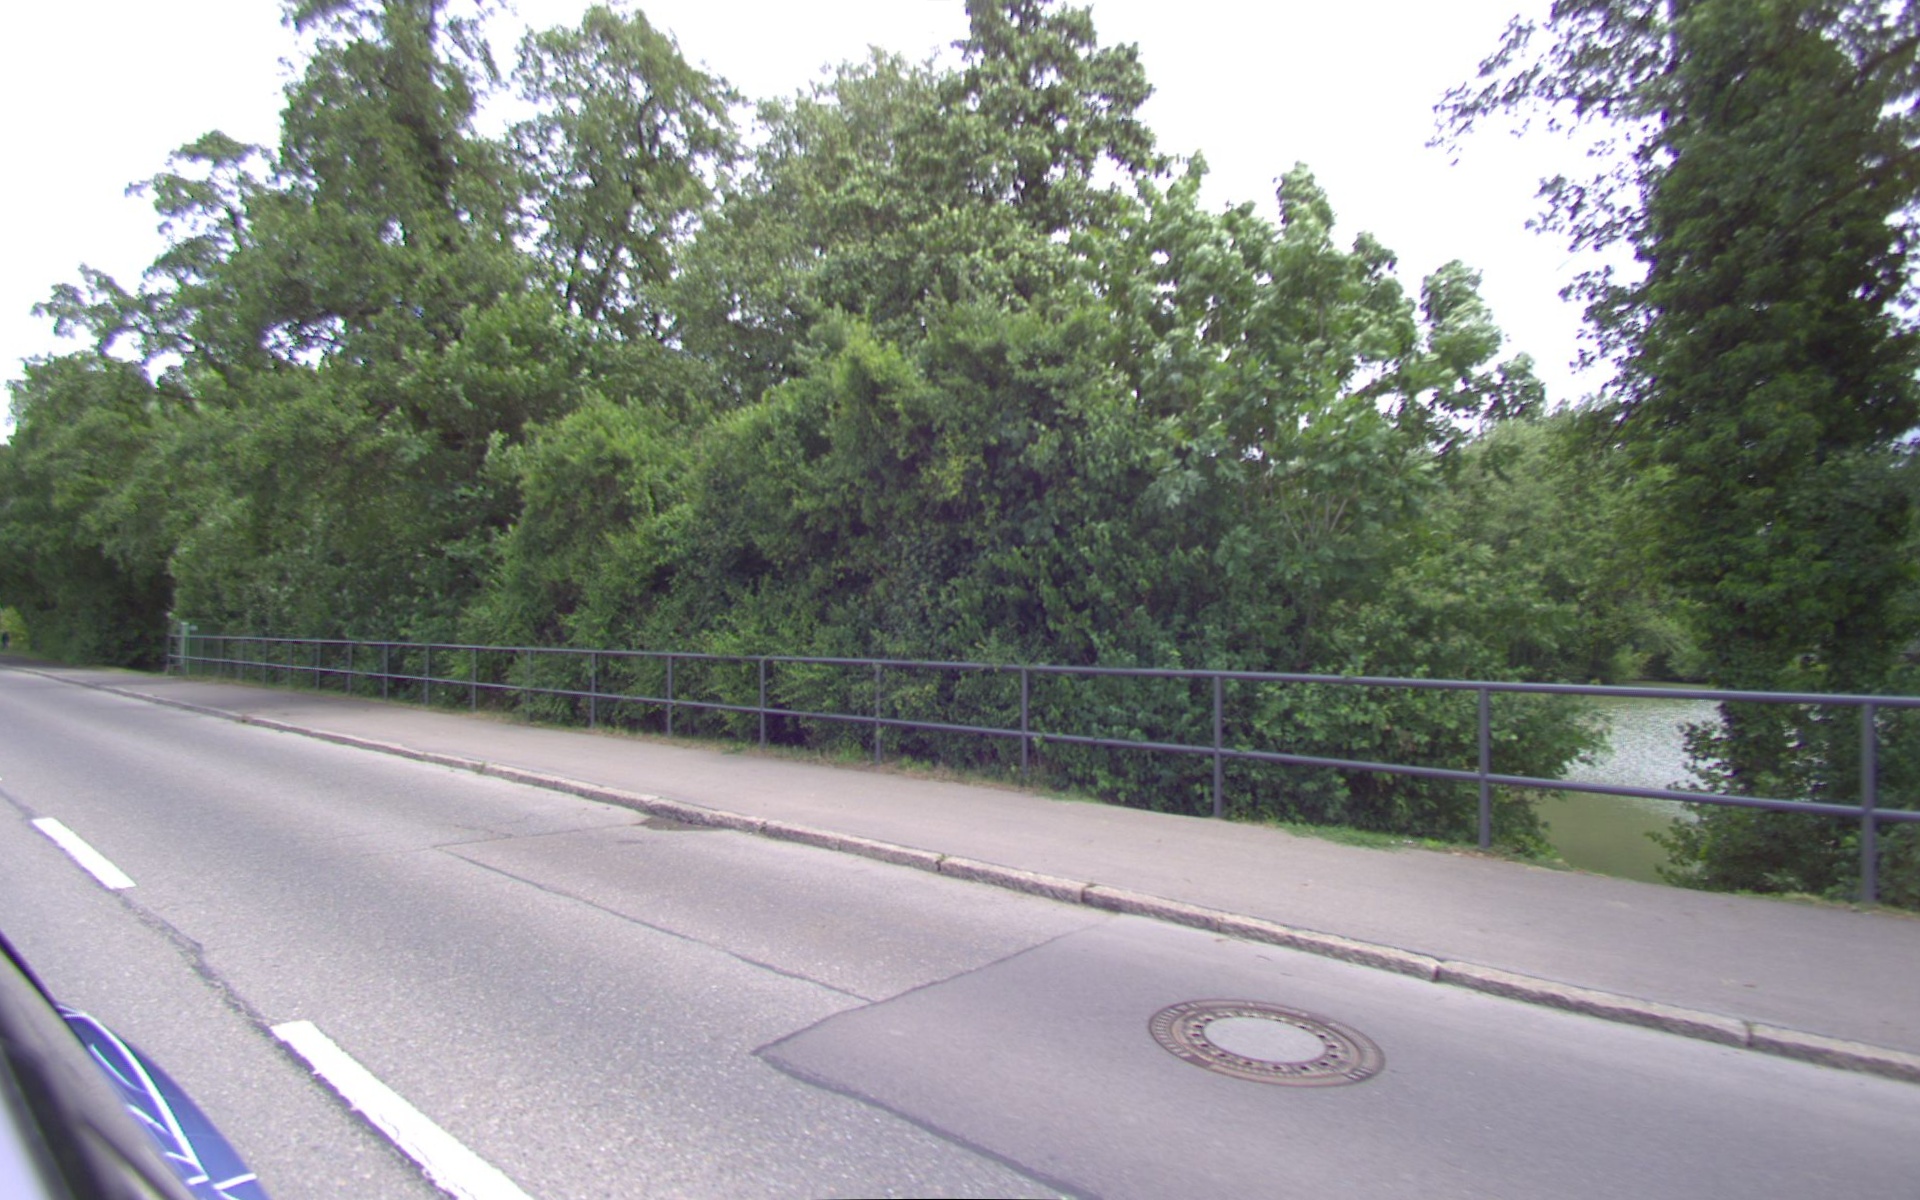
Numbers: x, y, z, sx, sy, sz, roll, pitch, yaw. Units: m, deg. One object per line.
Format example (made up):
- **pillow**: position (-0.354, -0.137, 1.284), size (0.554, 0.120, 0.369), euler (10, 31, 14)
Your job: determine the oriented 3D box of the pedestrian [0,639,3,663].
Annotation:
- **pedestrian**: position (-66.637, 3.528, 69.873), size (0.695, 1.606, 0.708), euler (2, -4, -38)
